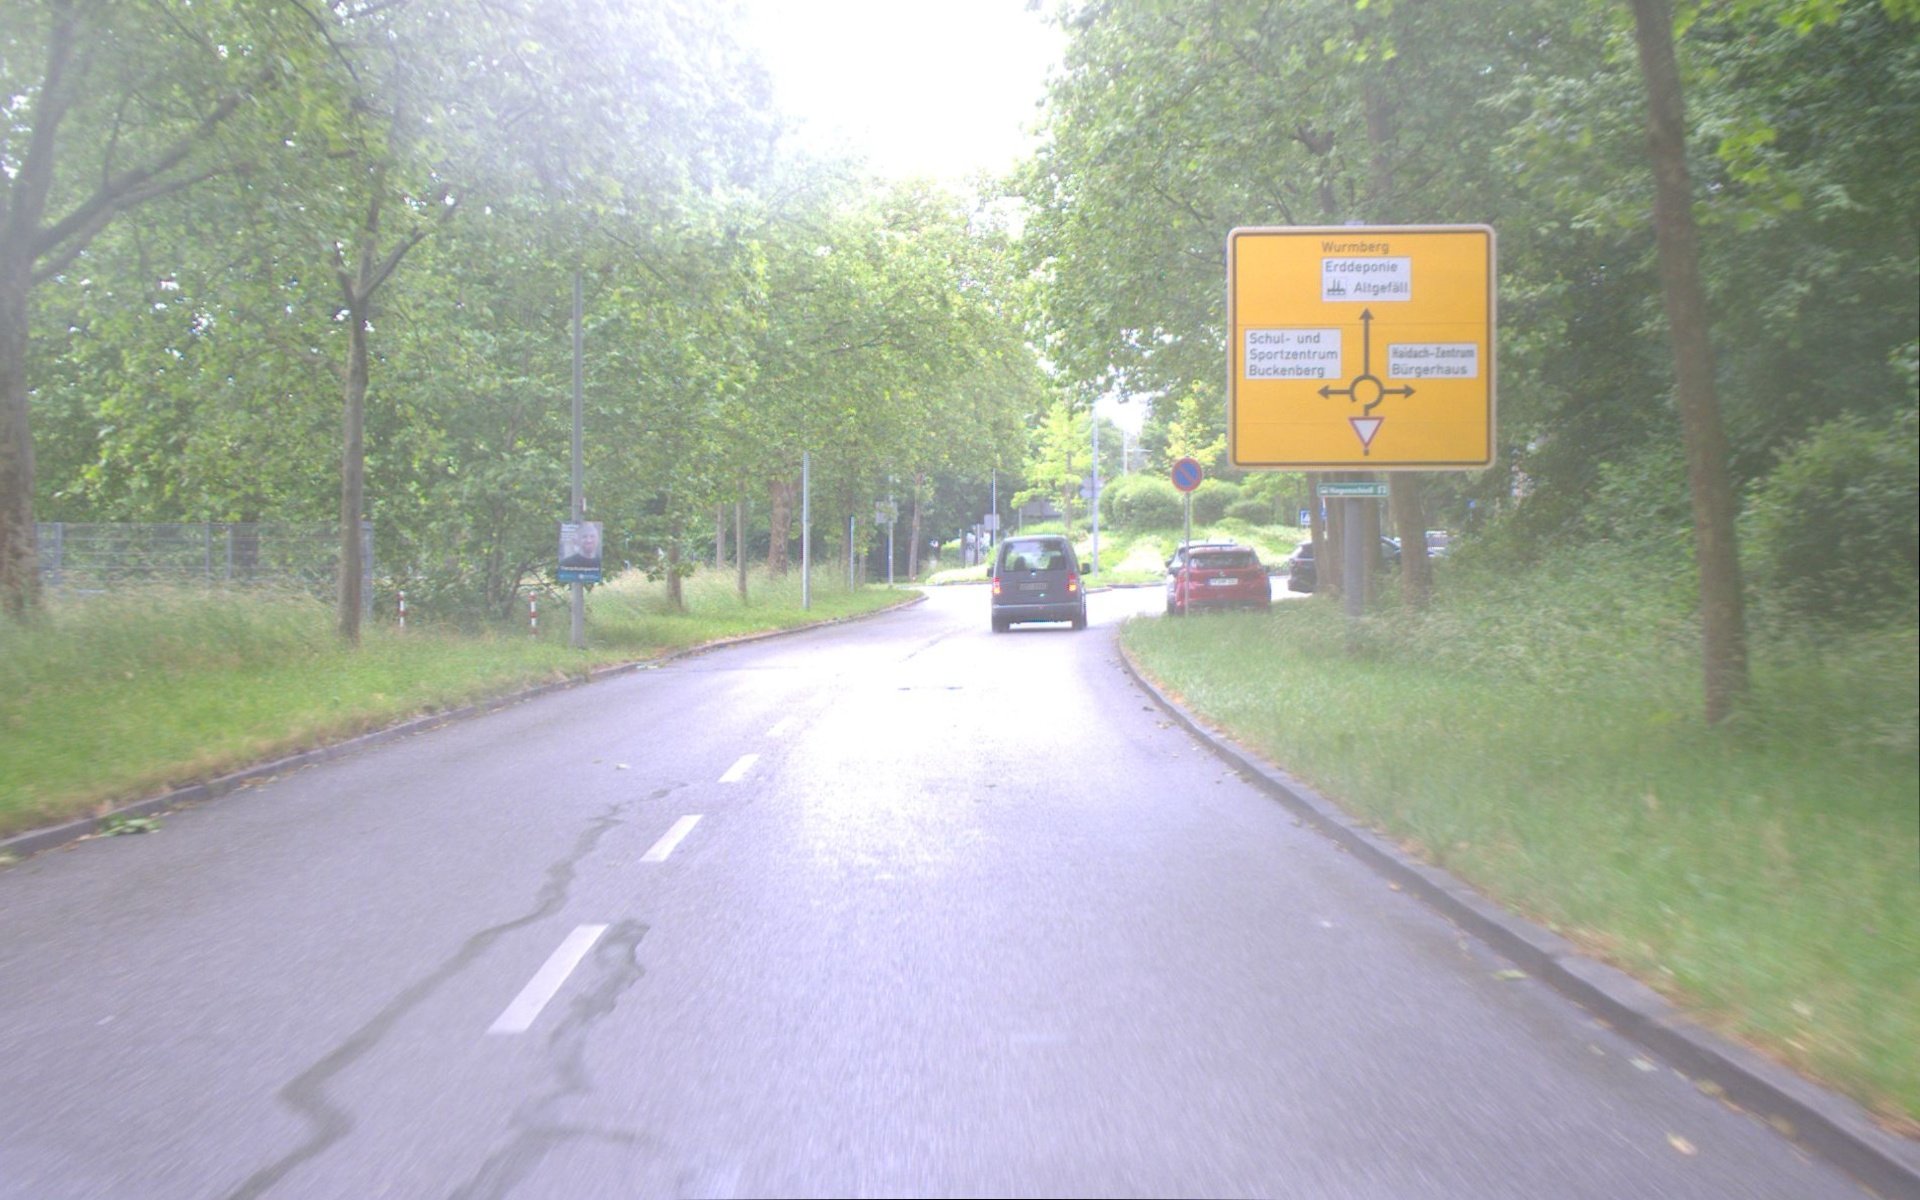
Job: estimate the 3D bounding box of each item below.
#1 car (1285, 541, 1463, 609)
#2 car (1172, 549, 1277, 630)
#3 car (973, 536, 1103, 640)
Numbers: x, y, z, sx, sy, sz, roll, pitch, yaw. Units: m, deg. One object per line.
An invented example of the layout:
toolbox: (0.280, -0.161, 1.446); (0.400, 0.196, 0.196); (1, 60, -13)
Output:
car: (10.578, -0.642, 88.047); (4.471, 1.674, 1.767); (0, 2, 6)
car: (4.756, -0.200, 62.082); (1.797, 1.367, 3.743); (-2, 0, 4)
car: (1.542, -0.256, 66.811); (1.919, 1.795, 3.789); (-4, 1, 9)
